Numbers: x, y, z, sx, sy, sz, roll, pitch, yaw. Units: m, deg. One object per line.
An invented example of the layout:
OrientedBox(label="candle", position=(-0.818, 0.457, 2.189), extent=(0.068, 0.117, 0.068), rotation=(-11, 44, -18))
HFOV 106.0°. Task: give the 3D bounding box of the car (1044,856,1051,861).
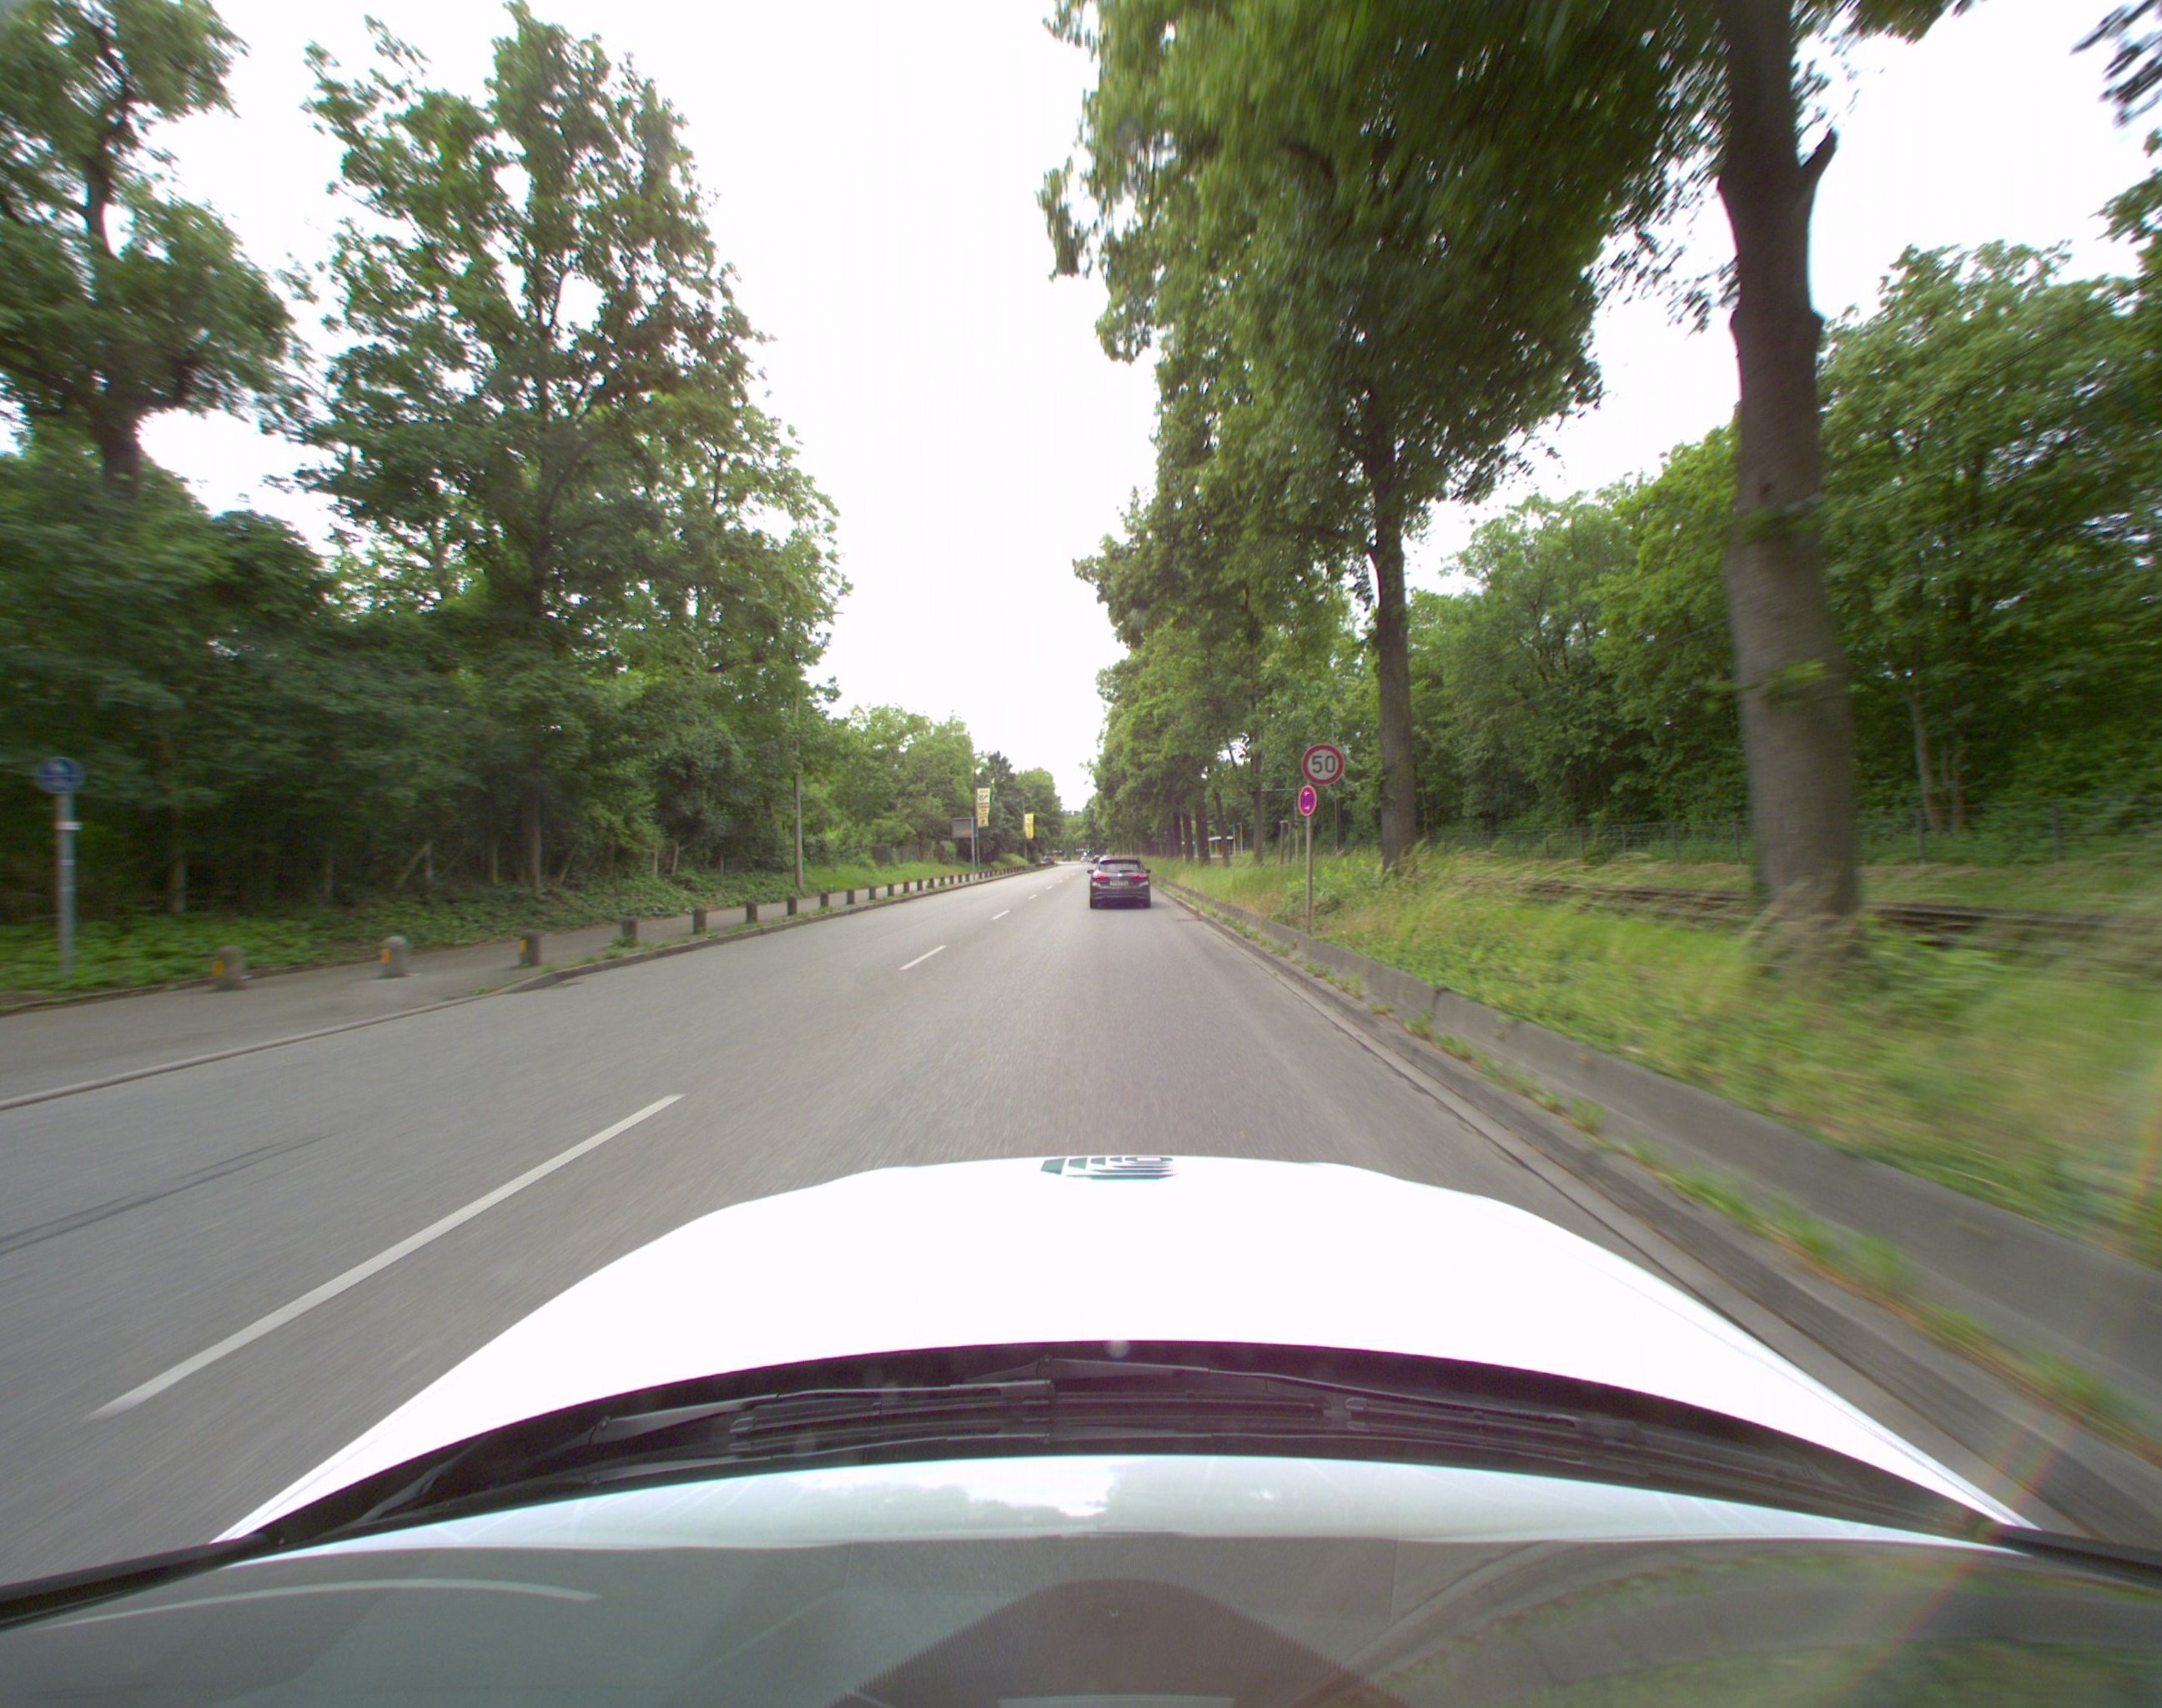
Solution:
OrientedBox(label="car", position=(-10.029, 1.416, 244.323), extent=(1.562, 1.441, 3.538), rotation=(0, 0, -11))

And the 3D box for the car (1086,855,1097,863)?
OrientedBox(label="car", position=(2.009, 0.935, 153.531), extent=(1.561, 1.441, 3.540), rotation=(0, 0, -9))

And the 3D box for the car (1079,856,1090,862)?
OrientedBox(label="car", position=(0.690, 1.059, 175.627), extent=(1.563, 1.441, 3.536), rotation=(0, 0, -13))

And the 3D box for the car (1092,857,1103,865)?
OrientedBox(label="car", position=(2.820, 1.160, 137.257), extent=(1.558, 1.441, 3.547), rotation=(0, 0, -3))

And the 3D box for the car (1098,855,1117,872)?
OrientedBox(label="car", position=(2.405, 0.857, 74.213), extent=(1.724, 1.537, 3.552), rotation=(0, 0, 1))

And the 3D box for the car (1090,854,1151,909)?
OrientedBox(label="car", position=(1.141, 0.768, 24.726), extent=(1.724, 1.537, 3.552), rotation=(0, 0, 1))

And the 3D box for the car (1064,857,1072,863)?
OrientedBox(label="car", position=(-3.371, 1.492, 211.539), extent=(1.560, 1.441, 3.541), rotation=(0, 0, -8))
